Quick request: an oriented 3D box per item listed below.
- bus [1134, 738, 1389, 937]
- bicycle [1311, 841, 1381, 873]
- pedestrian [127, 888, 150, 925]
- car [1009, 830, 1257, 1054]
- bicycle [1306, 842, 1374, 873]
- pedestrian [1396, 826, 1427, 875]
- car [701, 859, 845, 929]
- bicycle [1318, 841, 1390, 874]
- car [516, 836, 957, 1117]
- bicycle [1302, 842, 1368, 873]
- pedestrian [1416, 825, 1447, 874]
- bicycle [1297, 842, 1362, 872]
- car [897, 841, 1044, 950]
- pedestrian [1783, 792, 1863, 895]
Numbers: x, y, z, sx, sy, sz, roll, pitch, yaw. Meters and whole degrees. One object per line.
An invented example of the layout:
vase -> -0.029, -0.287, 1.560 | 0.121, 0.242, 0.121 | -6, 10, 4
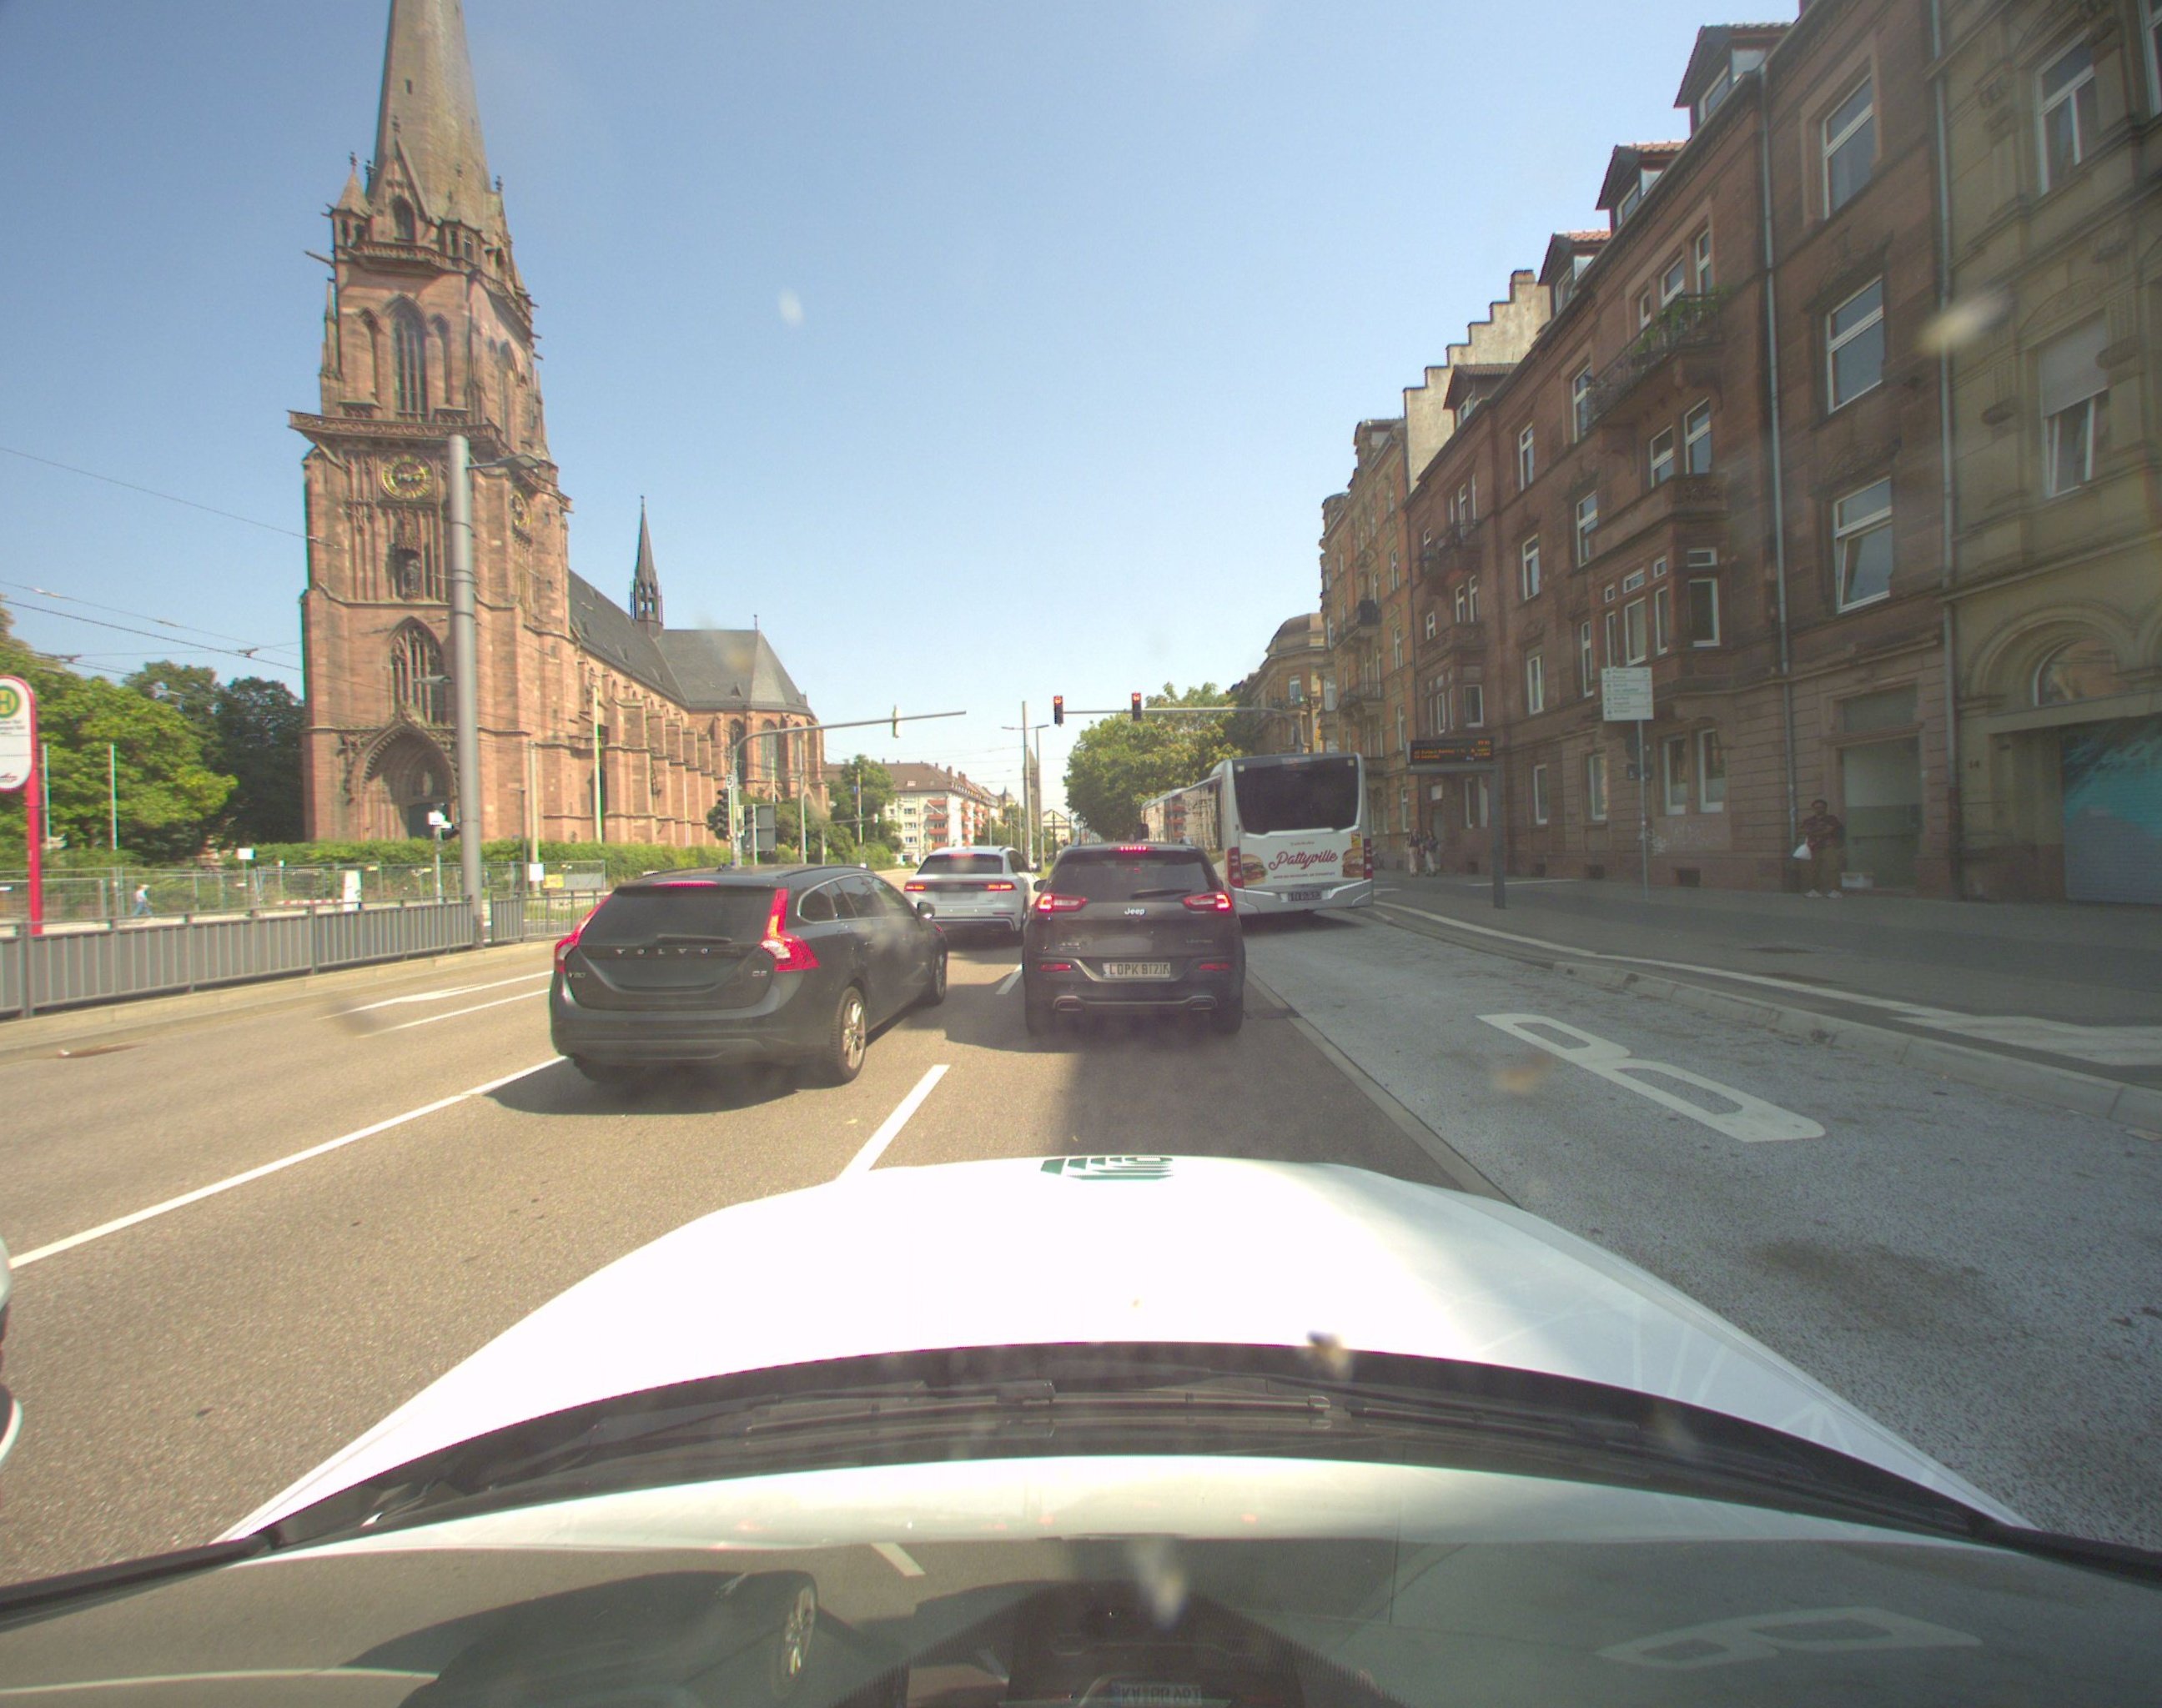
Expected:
bus -> 3.401, -0.243, 19.507 | 2.737, 3.107, 11.943 | -5, 0, -3
bicycle -> 12.600, 0.159, 38.757 | 2.983, 1.371, 0.871 | -2, 0, 1
pedestrian -> -39.874, 2.226, 34.457 | 0.430, 1.531, 0.548 | -3, 0, 36
car -> 0.497, 0.653, 8.231 | 1.825, 1.651, 4.312 | -1, 0, 3
bicycle -> 12.591, 0.159, 39.671 | 2.983, 1.371, 0.871 | -2, 0, 1
pedestrian -> 12.141, -0.123, 29.933 | 0.711, 1.776, 0.848 | -2, 0, 1
car -> -7.697, 0.939, 20.899 | 1.739, 1.435, 4.575 | -3, 0, 2
bicycle -> 12.664, 0.173, 37.848 | 2.983, 1.371, 0.871 | -2, 0, 1
car -> -2.335, 0.708, 6.886 | 1.741, 1.614, 4.310 | -1, 0, 2
bicycle -> 12.646, 0.172, 40.617 | 2.983, 1.371, 0.871 | -2, 0, 1
pedestrian -> 12.864, -0.161, 29.873 | 0.712, 1.778, 0.870 | -2, 0, 0
bicycle -> 12.676, 0.149, 41.561 | 2.993, 1.373, 0.948 | -2, 0, 1
car -> -1.797, 0.629, 14.689 | 1.895, 1.651, 4.310 | -1, 0, 2
pedestrian -> 13.262, -0.184, 14.562 | 0.872, 1.778, 0.737 | -2, 0, -26
